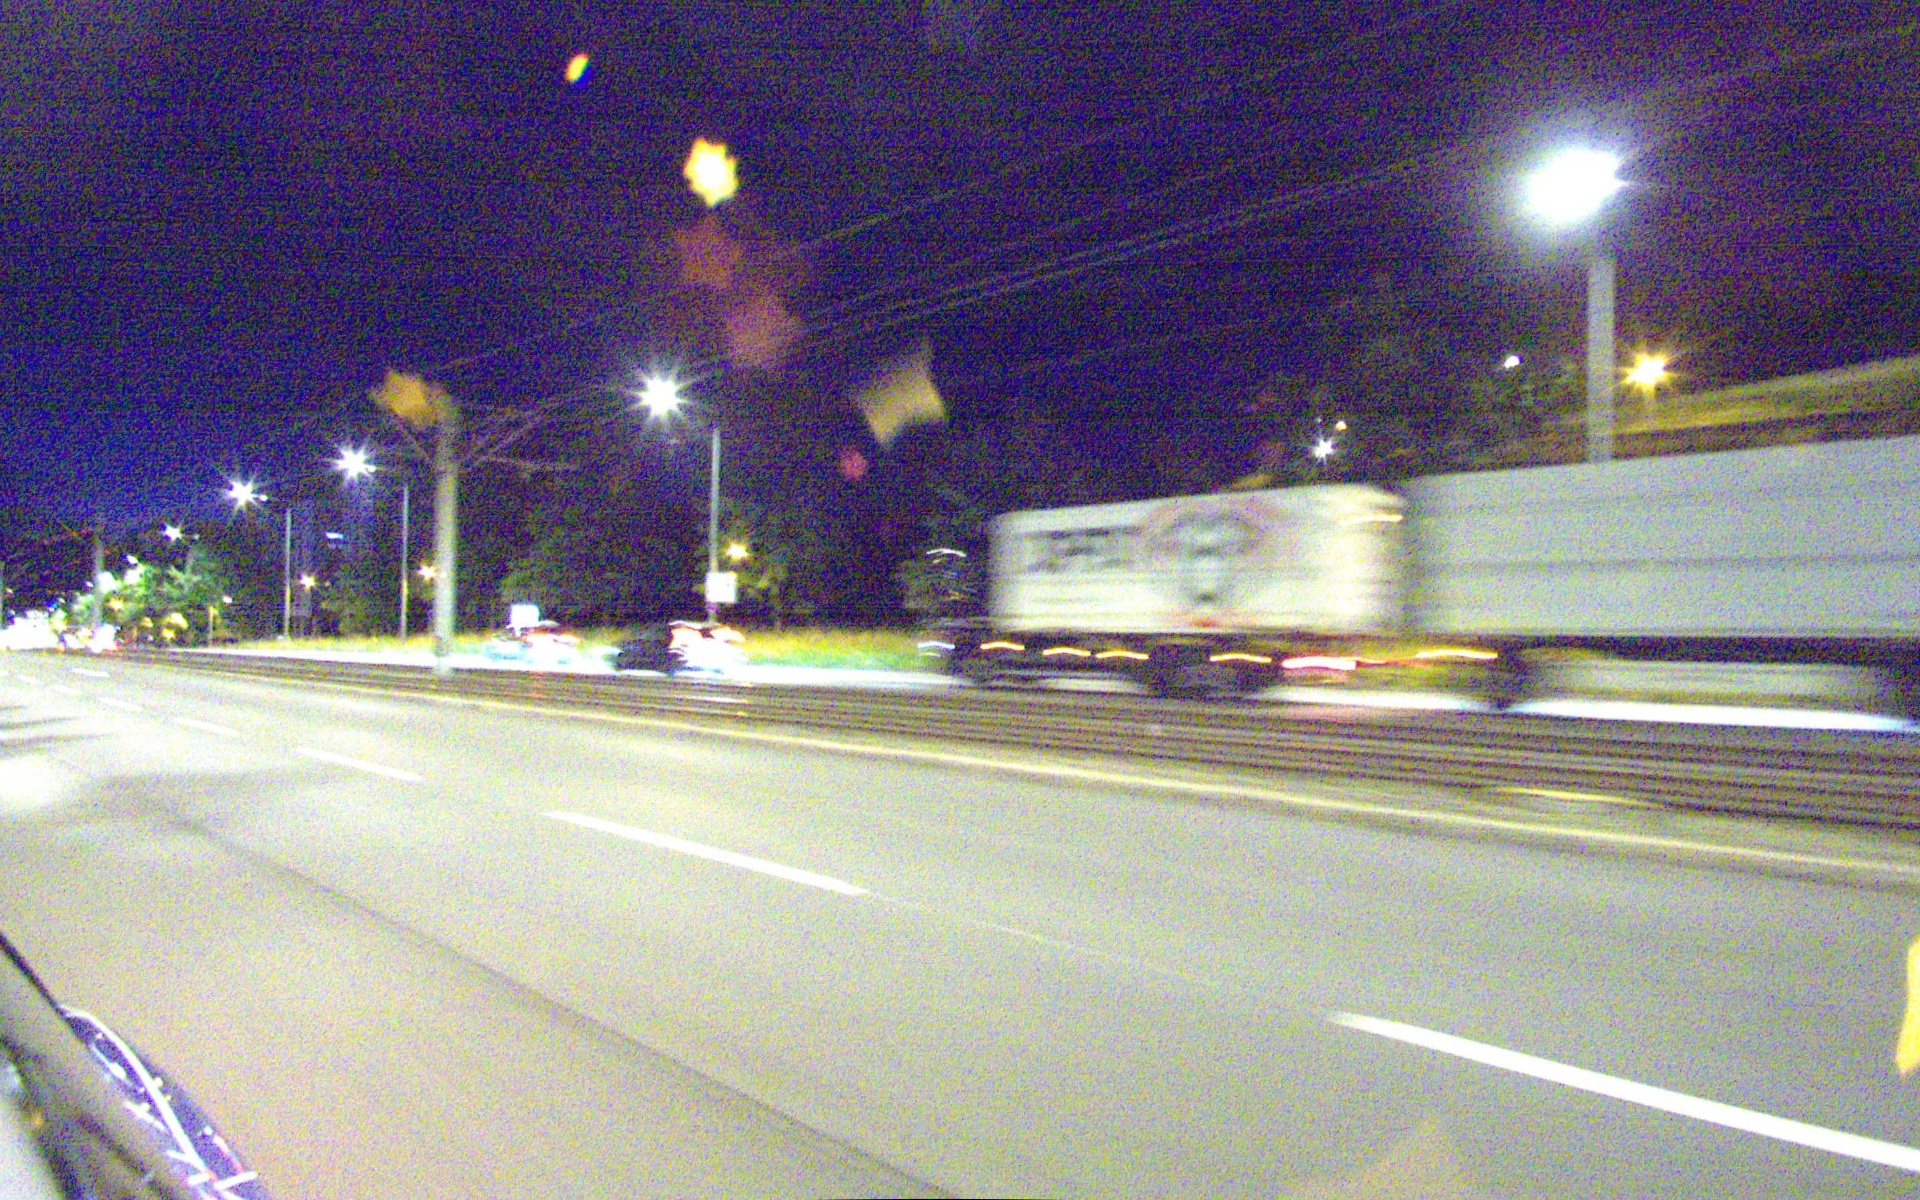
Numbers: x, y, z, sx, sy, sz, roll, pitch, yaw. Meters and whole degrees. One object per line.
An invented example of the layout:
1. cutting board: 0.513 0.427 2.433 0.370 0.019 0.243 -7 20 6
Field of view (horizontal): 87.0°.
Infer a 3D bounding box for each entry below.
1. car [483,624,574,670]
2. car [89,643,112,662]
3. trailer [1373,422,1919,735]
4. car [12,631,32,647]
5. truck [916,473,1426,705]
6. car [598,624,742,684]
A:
1. car: -16.772 1.785 39.226 3.960 1.637 1.707 -1 0 41
2. car: -100.211 6.087 118.038 2.030 2.029 4.006 -1 0 -40
3. trailer: 11.474 -0.253 16.065 8.387 4.020 3.660 -1 0 39
4. car: -123.829 5.137 133.601 1.769 1.921 4.002 -1 0 -45
5. truck: 4.123 -0.139 22.110 10.411 3.984 3.645 -1 0 39
6. car: -8.041 1.423 27.889 4.079 1.510 1.787 -1 -1 38
